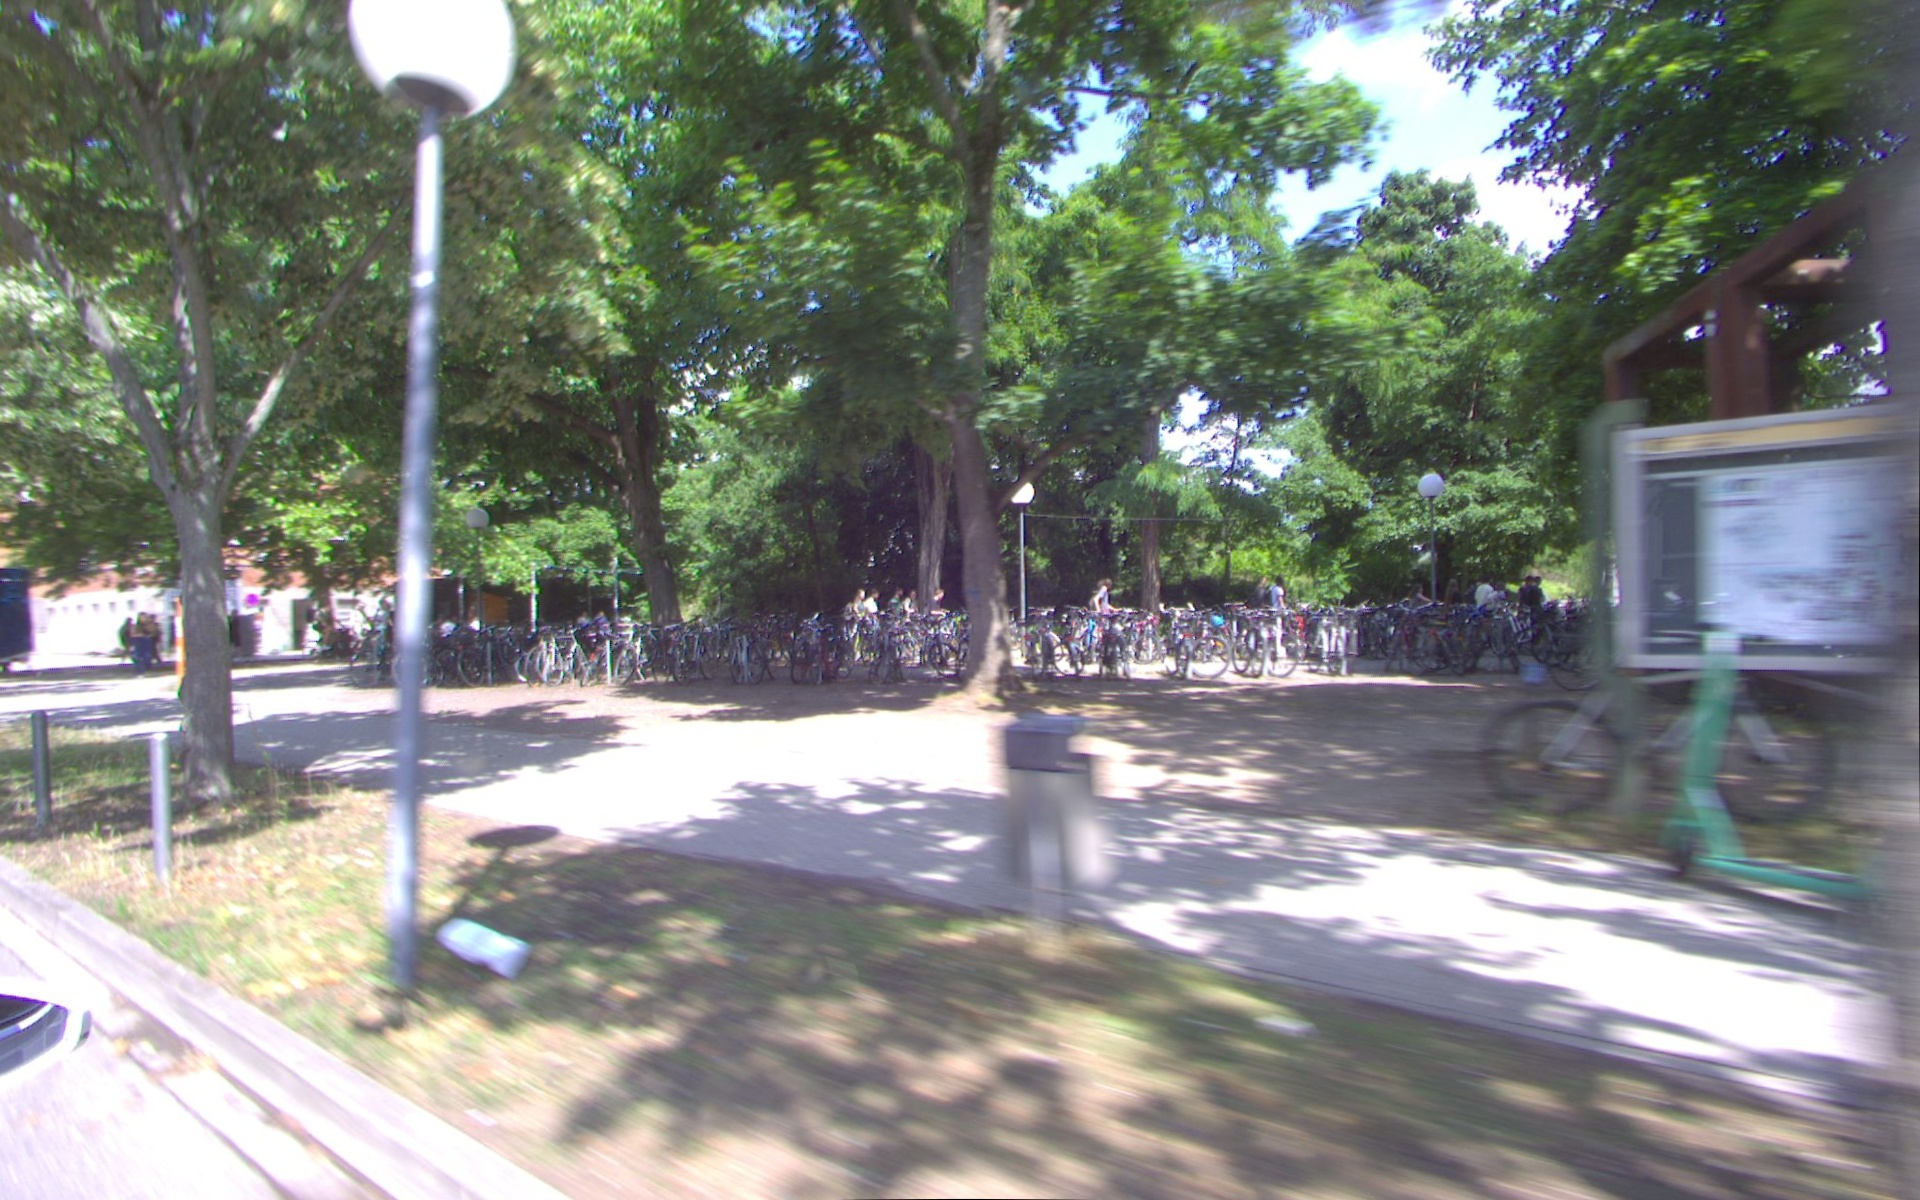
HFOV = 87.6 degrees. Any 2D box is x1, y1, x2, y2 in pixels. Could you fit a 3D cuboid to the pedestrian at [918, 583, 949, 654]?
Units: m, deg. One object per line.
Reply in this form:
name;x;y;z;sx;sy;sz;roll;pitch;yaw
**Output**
pedestrian;-0.672;0.464;25.539;0.707;1.799;0.744;0;1;6

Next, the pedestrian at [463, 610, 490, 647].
pedestrian;-18.096;1.056;37.458;0.719;1.365;0.567;0;3;33

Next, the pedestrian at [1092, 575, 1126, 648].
pedestrian;3.760;0.293;25.252;0.707;1.799;0.744;-1;1;-3

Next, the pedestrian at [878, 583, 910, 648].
pedestrian;-1.856;0.425;28.221;0.707;1.799;0.744;0;1;12

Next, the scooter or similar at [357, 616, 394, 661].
scooter or similar;-16.313;1.076;27.944;1.278;1.234;0.422;-2;0;38

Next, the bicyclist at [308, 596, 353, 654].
bicyclist;-19.169;0.759;30.483;1.059;1.753;0.530;-1;2;17

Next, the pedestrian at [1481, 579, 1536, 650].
pedestrian;14.353;0.369;26.210;0.976;1.799;0.839;-1;1;-23

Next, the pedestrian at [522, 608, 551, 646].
pedestrian;-16.121;1.018;38.130;0.709;1.365;0.664;0;3;33

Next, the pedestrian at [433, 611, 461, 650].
pedestrian;-18.705;1.110;36.498;0.719;1.365;0.567;0;3;33

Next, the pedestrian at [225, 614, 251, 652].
pedestrian;-31.888;1.463;44.217;0.669;1.628;0.657;-1;1;22

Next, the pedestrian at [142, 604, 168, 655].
pedestrian;-29.164;1.063;36.280;0.401;1.822;0.593;1;3;34

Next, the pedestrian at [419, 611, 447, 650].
pedestrian;-19.392;1.114;36.881;0.719;1.365;0.567;0;3;33

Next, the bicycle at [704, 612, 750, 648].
bicycle;-7.330;0.928;31.593;0.470;1.053;1.956;-1;1;18

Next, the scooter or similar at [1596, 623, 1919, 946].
scooter or similar;3.486;0.685;4.157;0.490;1.129;1.355;-1;2;-28

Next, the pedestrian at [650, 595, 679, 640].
pedestrian;-10.726;0.631;36.345;0.708;1.604;0.664;0;4;33

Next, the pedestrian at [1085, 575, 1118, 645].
pedestrian;3.680;0.265;26.079;0.707;1.799;0.744;-1;1;-3

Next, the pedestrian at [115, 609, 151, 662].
pedestrian;-26.835;1.151;32.505;0.778;1.683;0.694;-1;1;37

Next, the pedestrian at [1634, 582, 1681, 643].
pedestrian;18.632;0.335;26.749;0.707;1.590;0.744;-1;1;-11

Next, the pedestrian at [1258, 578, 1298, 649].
pedestrian;8.238;0.349;25.973;0.708;1.799;0.743;-1;1;-15

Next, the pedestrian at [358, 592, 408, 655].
pedestrian;-18.575;0.741;32.249;1.059;1.975;0.833;-1;2;17

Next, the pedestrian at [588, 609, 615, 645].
pedestrian;-13.460;1.002;37.577;0.613;1.289;0.664;0;3;33

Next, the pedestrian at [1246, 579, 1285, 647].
pedestrian;8.139;0.344;26.707;0.708;1.799;0.743;-1;1;-15

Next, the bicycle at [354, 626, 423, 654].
bicycle;-23.757;1.640;41.666;0.775;1.085;2.382;-2;-1;44

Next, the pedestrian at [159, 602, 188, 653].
pedestrian;-29.101;1.013;37.059;0.717;1.822;0.593;1;3;34

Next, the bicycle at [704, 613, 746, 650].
bicycle;-7.203;0.966;30.736;0.427;1.053;1.781;-1;1;16

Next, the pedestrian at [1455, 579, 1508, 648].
pedestrian;14.020;0.353;26.937;0.976;1.799;0.839;-1;1;-23

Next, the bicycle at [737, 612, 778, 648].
bicycle;-6.277;0.919;31.106;0.470;1.053;1.781;-1;1;16

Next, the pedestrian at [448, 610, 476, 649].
pedestrian;-18.403;1.086;36.978;0.719;1.365;0.567;0;3;33

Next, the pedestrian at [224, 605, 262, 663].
pedestrian;-23.630;1.122;32.996;0.814;1.879;0.762;-1;1;37

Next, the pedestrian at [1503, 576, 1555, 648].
pedestrian;14.519;0.303;25.580;0.798;1.799;0.852;-1;1;-22

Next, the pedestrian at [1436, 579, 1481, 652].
pedestrian;12.540;0.388;25.206;0.710;1.799;0.741;-1;1;-29

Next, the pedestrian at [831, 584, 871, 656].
pedestrian;-2.807;0.509;25.787;0.710;1.799;0.741;0;1;29

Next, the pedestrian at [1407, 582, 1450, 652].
pedestrian;12.215;0.426;26.111;0.710;1.799;0.741;-1;1;-27

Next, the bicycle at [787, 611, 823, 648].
bicycle;-4.700;0.886;30.478;0.342;1.053;1.750;-1;1;16

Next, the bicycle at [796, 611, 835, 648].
bicycle;-4.360;0.878;30.380;0.470;1.053;1.750;-1;1;16

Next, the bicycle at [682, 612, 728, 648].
bicycle;-8.051;0.943;31.684;0.427;1.053;1.956;-1;1;18

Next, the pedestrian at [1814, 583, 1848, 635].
pedestrian;27.087;0.285;31.132;0.714;1.590;0.737;-1;1;-45

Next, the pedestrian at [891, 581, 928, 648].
pedestrian;-1.368;0.393;27.266;0.710;1.799;0.741;0;1;29

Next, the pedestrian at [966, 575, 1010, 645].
pedestrian;0.749;0.261;26.512;0.954;1.799;0.962;0;1;15

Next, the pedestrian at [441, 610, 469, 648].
pedestrian;-18.944;1.082;37.571;0.719;1.365;0.567;0;3;33

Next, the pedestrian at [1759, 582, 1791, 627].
pedestrian;28.551;0.153;35.086;0.505;1.533;0.690;-2;3;-6

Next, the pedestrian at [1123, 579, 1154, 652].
pedestrian;4.516;0.383;25.300;0.707;1.799;0.744;0;1;6

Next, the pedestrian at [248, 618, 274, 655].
pedestrian;-31.419;1.648;45.021;0.669;1.628;0.657;-1;1;22

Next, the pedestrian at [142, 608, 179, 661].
pedestrian;-26.397;1.135;33.065;0.814;1.683;0.762;-1;1;37

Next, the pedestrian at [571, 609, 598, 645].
pedestrian;-14.233;1.015;37.950;0.613;1.289;0.664;0;3;33

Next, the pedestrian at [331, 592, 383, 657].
pedestrian;-18.850;0.762;31.330;1.059;1.975;0.833;-1;2;17

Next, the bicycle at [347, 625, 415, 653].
bicycle;-24.424;1.641;42.281;2.377;1.086;0.776;-1;-1;-40

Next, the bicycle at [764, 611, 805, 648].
bicycle;-5.416;0.890;31.015;0.470;1.053;1.829;-1;1;16

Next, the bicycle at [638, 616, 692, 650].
bicycle;-9.356;1.045;31.844;0.602;0.992;1.956;-1;1;18

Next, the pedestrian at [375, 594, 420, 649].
pedestrian;-18.723;0.704;33.326;0.905;1.799;0.957;0;1;29

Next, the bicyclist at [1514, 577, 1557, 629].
bicyclist;16.634;0.076;28.943;0.788;1.466;0.744;-1;1;-6

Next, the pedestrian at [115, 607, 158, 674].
pedestrian;-20.036;0.986;24.352;0.916;1.592;0.566;-2;1;38
